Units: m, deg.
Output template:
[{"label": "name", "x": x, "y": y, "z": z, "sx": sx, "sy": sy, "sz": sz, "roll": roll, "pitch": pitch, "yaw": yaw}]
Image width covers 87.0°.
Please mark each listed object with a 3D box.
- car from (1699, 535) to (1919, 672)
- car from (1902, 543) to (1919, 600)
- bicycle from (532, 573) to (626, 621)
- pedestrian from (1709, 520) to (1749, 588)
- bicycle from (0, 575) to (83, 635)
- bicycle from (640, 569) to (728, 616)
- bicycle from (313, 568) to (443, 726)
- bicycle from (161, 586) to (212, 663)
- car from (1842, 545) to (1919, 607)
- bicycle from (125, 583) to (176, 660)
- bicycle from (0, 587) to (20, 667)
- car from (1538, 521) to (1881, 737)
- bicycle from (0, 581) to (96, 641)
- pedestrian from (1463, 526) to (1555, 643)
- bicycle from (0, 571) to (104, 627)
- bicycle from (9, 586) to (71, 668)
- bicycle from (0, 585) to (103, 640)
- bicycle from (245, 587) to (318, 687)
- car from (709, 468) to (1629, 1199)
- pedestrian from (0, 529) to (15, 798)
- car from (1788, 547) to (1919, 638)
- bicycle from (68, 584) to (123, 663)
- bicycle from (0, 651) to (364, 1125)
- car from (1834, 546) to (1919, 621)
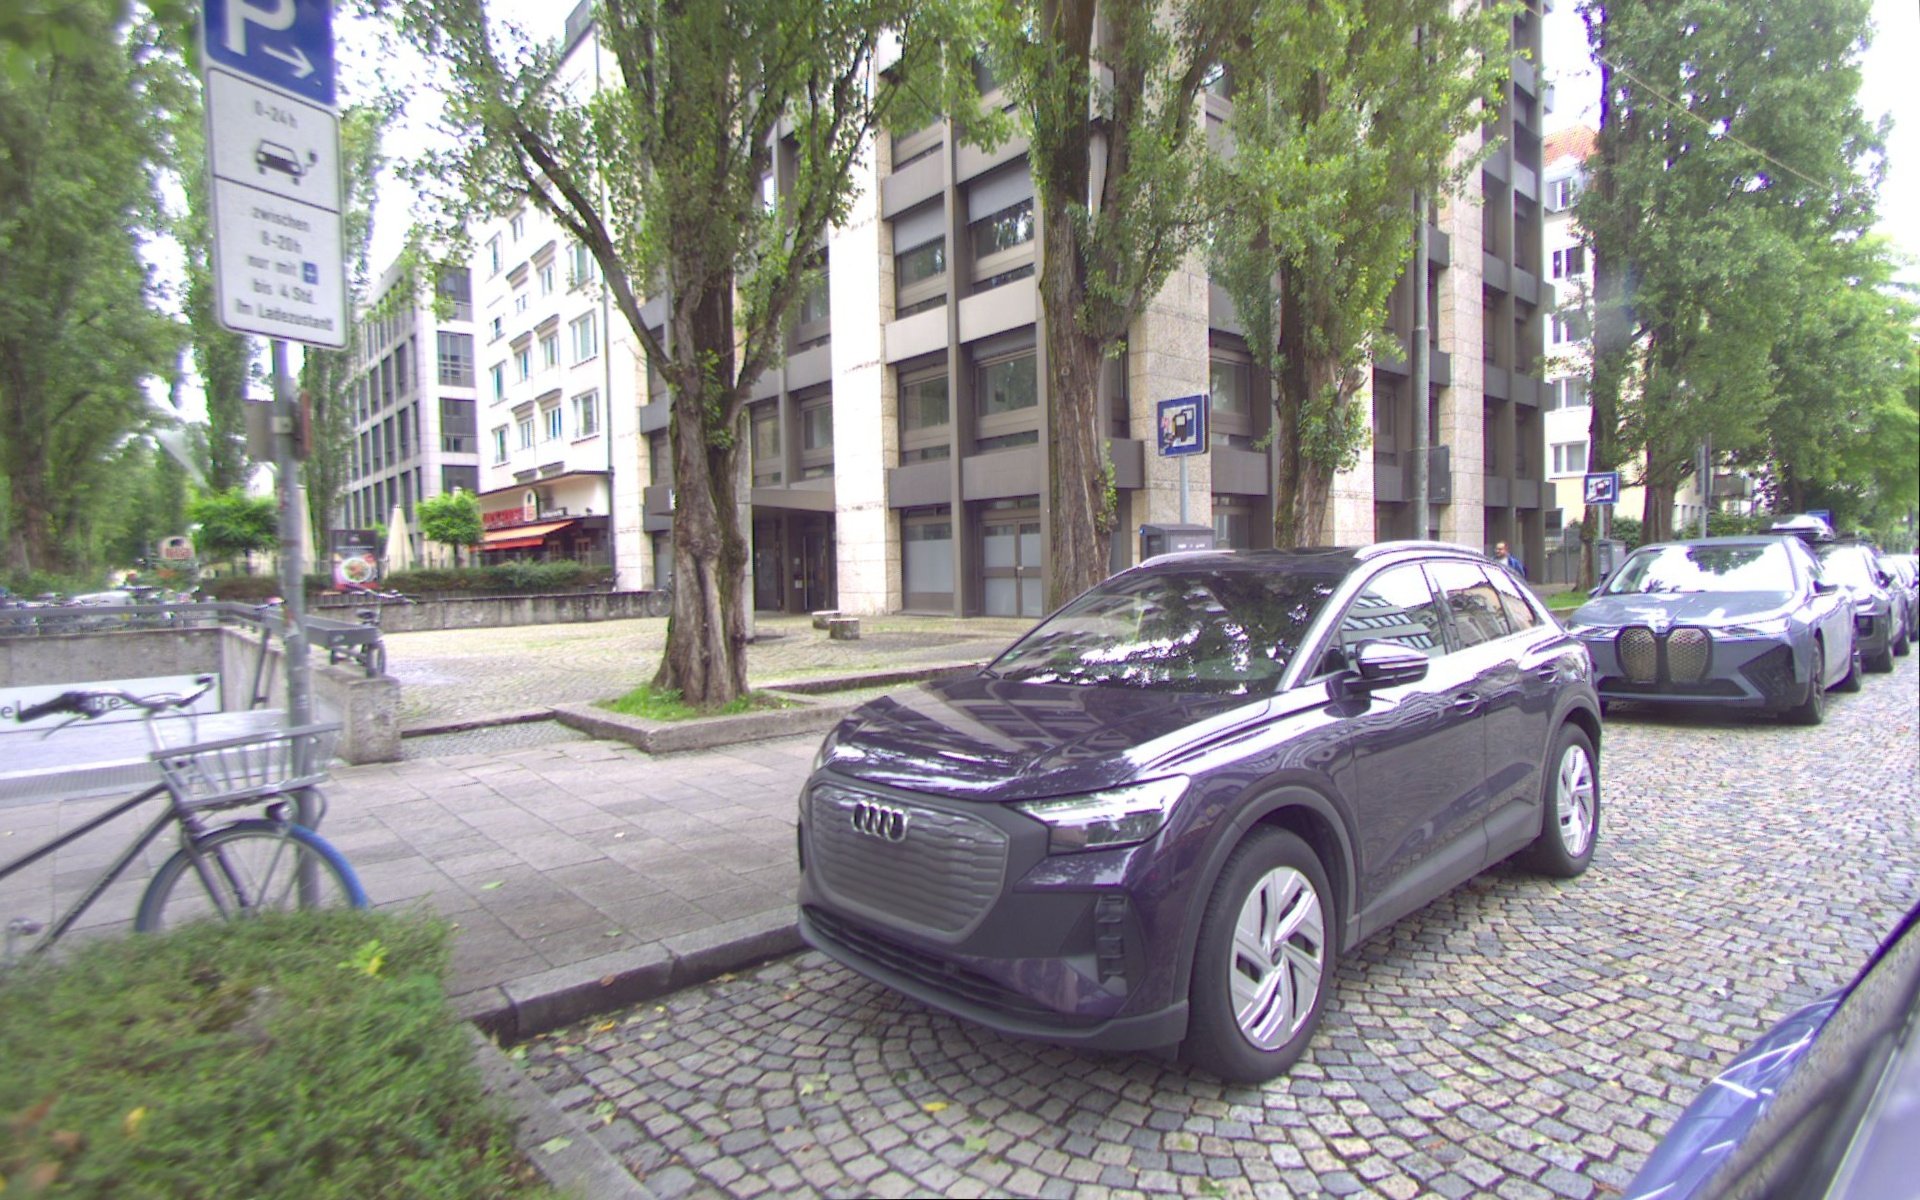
[{"label": "car", "x": 11.940, "y": -0.056, "z": 14.005, "sx": 4.270, "sy": 1.602, "sz": 1.996, "roll": -3, "pitch": 2, "yaw": -43}, {"label": "car", "x": 27.476, "y": -0.853, "z": 28.010, "sx": 3.811, "sy": 1.517, "sz": 1.864, "roll": -4, "pitch": 2, "yaw": -44}, {"label": "bicycle", "x": -9.999, "y": -0.100, "z": 26.656, "sx": 2.207, "sy": 1.169, "sz": 0.647, "roll": -3, "pitch": 3, "yaw": -41}, {"label": "pedestrian", "x": 17.947, "y": -1.073, "z": 23.619, "sx": 0.698, "sy": 1.556, "sz": 0.644, "roll": -3, "pitch": 2, "yaw": -44}, {"label": "bicycle", "x": -19.191, "y": 0.103, "z": 20.690, "sx": 1.836, "sy": 1.174, "sz": 0.587, "roll": -3, "pitch": 2, "yaw": -39}, {"label": "bicycle", "x": -7.459, "y": -0.230, "z": 27.419, "sx": 2.207, "sy": 1.169, "sz": 0.647, "roll": -3, "pitch": 3, "yaw": -41}, {"label": "bicycle", "x": -5.391, "y": 0.368, "z": 9.321, "sx": 0.709, "sy": 1.292, "sz": 1.867, "roll": -3, "pitch": 2, "yaw": -39}, {"label": "bicycle", "x": -12.860, "y": 0.371, "z": 16.806, "sx": 0.577, "sy": 1.174, "sz": 1.867, "roll": -3, "pitch": 2, "yaw": -39}, {"label": "car", "x": 23.215, "y": -0.625, "z": 24.773, "sx": 3.809, "sy": 1.405, "sz": 1.996, "roll": -4, "pitch": 2, "yaw": -42}, {"label": "bicycle", "x": -13.356, "y": 0.322, "z": 16.698, "sx": 0.577, "sy": 1.174, "sz": 1.867, "roll": -3, "pitch": 2, "yaw": -39}, {"label": "bicycle", "x": -14.833, "y": 0.395, "z": 15.420, "sx": 0.577, "sy": 1.174, "sz": 1.867, "roll": -3, "pitch": 2, "yaw": -39}, {"label": "car", "x": 7.816, "y": 0.130, "z": 10.365, "sx": 4.596, "sy": 1.721, "sz": 2.015, "roll": -3, "pitch": 2, "yaw": -43}, {"label": "bicycle", "x": -19.502, "y": 0.233, "z": 21.250, "sx": 1.996, "sy": 1.174, "sz": 0.587, "roll": -3, "pitch": 2, "yaw": -39}, {"label": "pedestrian", "x": 8.499, "y": -0.251, "z": 15.692, "sx": 0.893, "sy": 1.735, "sz": 0.871, "roll": -2, "pitch": 2, "yaw": -22}, {"label": "bicycle", "x": -20.494, "y": -0.046, "z": 22.750, "sx": 1.836, "sy": 1.174, "sz": 0.587, "roll": -3, "pitch": 2, "yaw": -39}, {"label": "bicycle", "x": -14.368, "y": 0.386, "z": 15.836, "sx": 0.577, "sy": 1.174, "sz": 1.867, "roll": -3, "pitch": 2, "yaw": -39}, {"label": "bicycle", "x": -20.897, "y": 0.265, "z": 23.206, "sx": 1.836, "sy": 1.174, "sz": 0.587, "roll": -3, "pitch": 2, "yaw": -39}, {"label": "bicycle", "x": -8.715, "y": 0.430, "z": 12.968, "sx": 0.577, "sy": 1.174, "sz": 1.867, "roll": -3, "pitch": 2, "yaw": -39}, {"label": "car", "x": 1.247, "y": 0.462, "z": 4.465, "sx": 4.132, "sy": 1.721, "sz": 1.922, "roll": -3, "pitch": 2, "yaw": -43}, {"label": "pedestrian", "x": -6.268, "y": 0.412, "z": 6.110, "sx": 0.599, "sy": 1.701, "sz": 0.846, "roll": -2, "pitch": 2, "yaw": -31}, {"label": "car", "x": 16.584, "y": -0.182, "z": 18.376, "sx": 4.134, "sy": 1.407, "sz": 1.721, "roll": -4, "pitch": 0, "yaw": -42}, {"label": "bicycle", "x": -13.872, "y": 0.347, "z": 16.268, "sx": 0.577, "sy": 1.174, "sz": 1.867, "roll": -3, "pitch": 2, "yaw": -39}, {"label": "bicycle", "x": -2.725, "y": 0.792, "z": 2.770, "sx": 1.840, "sy": 1.150, "sz": 0.476, "roll": -3, "pitch": 2, "yaw": -32}, {"label": "car", "x": 19.894, "y": -0.392, "z": 21.452, "sx": 3.502, "sy": 1.448, "sz": 1.602, "roll": -3, "pitch": 1, "yaw": -42}]
